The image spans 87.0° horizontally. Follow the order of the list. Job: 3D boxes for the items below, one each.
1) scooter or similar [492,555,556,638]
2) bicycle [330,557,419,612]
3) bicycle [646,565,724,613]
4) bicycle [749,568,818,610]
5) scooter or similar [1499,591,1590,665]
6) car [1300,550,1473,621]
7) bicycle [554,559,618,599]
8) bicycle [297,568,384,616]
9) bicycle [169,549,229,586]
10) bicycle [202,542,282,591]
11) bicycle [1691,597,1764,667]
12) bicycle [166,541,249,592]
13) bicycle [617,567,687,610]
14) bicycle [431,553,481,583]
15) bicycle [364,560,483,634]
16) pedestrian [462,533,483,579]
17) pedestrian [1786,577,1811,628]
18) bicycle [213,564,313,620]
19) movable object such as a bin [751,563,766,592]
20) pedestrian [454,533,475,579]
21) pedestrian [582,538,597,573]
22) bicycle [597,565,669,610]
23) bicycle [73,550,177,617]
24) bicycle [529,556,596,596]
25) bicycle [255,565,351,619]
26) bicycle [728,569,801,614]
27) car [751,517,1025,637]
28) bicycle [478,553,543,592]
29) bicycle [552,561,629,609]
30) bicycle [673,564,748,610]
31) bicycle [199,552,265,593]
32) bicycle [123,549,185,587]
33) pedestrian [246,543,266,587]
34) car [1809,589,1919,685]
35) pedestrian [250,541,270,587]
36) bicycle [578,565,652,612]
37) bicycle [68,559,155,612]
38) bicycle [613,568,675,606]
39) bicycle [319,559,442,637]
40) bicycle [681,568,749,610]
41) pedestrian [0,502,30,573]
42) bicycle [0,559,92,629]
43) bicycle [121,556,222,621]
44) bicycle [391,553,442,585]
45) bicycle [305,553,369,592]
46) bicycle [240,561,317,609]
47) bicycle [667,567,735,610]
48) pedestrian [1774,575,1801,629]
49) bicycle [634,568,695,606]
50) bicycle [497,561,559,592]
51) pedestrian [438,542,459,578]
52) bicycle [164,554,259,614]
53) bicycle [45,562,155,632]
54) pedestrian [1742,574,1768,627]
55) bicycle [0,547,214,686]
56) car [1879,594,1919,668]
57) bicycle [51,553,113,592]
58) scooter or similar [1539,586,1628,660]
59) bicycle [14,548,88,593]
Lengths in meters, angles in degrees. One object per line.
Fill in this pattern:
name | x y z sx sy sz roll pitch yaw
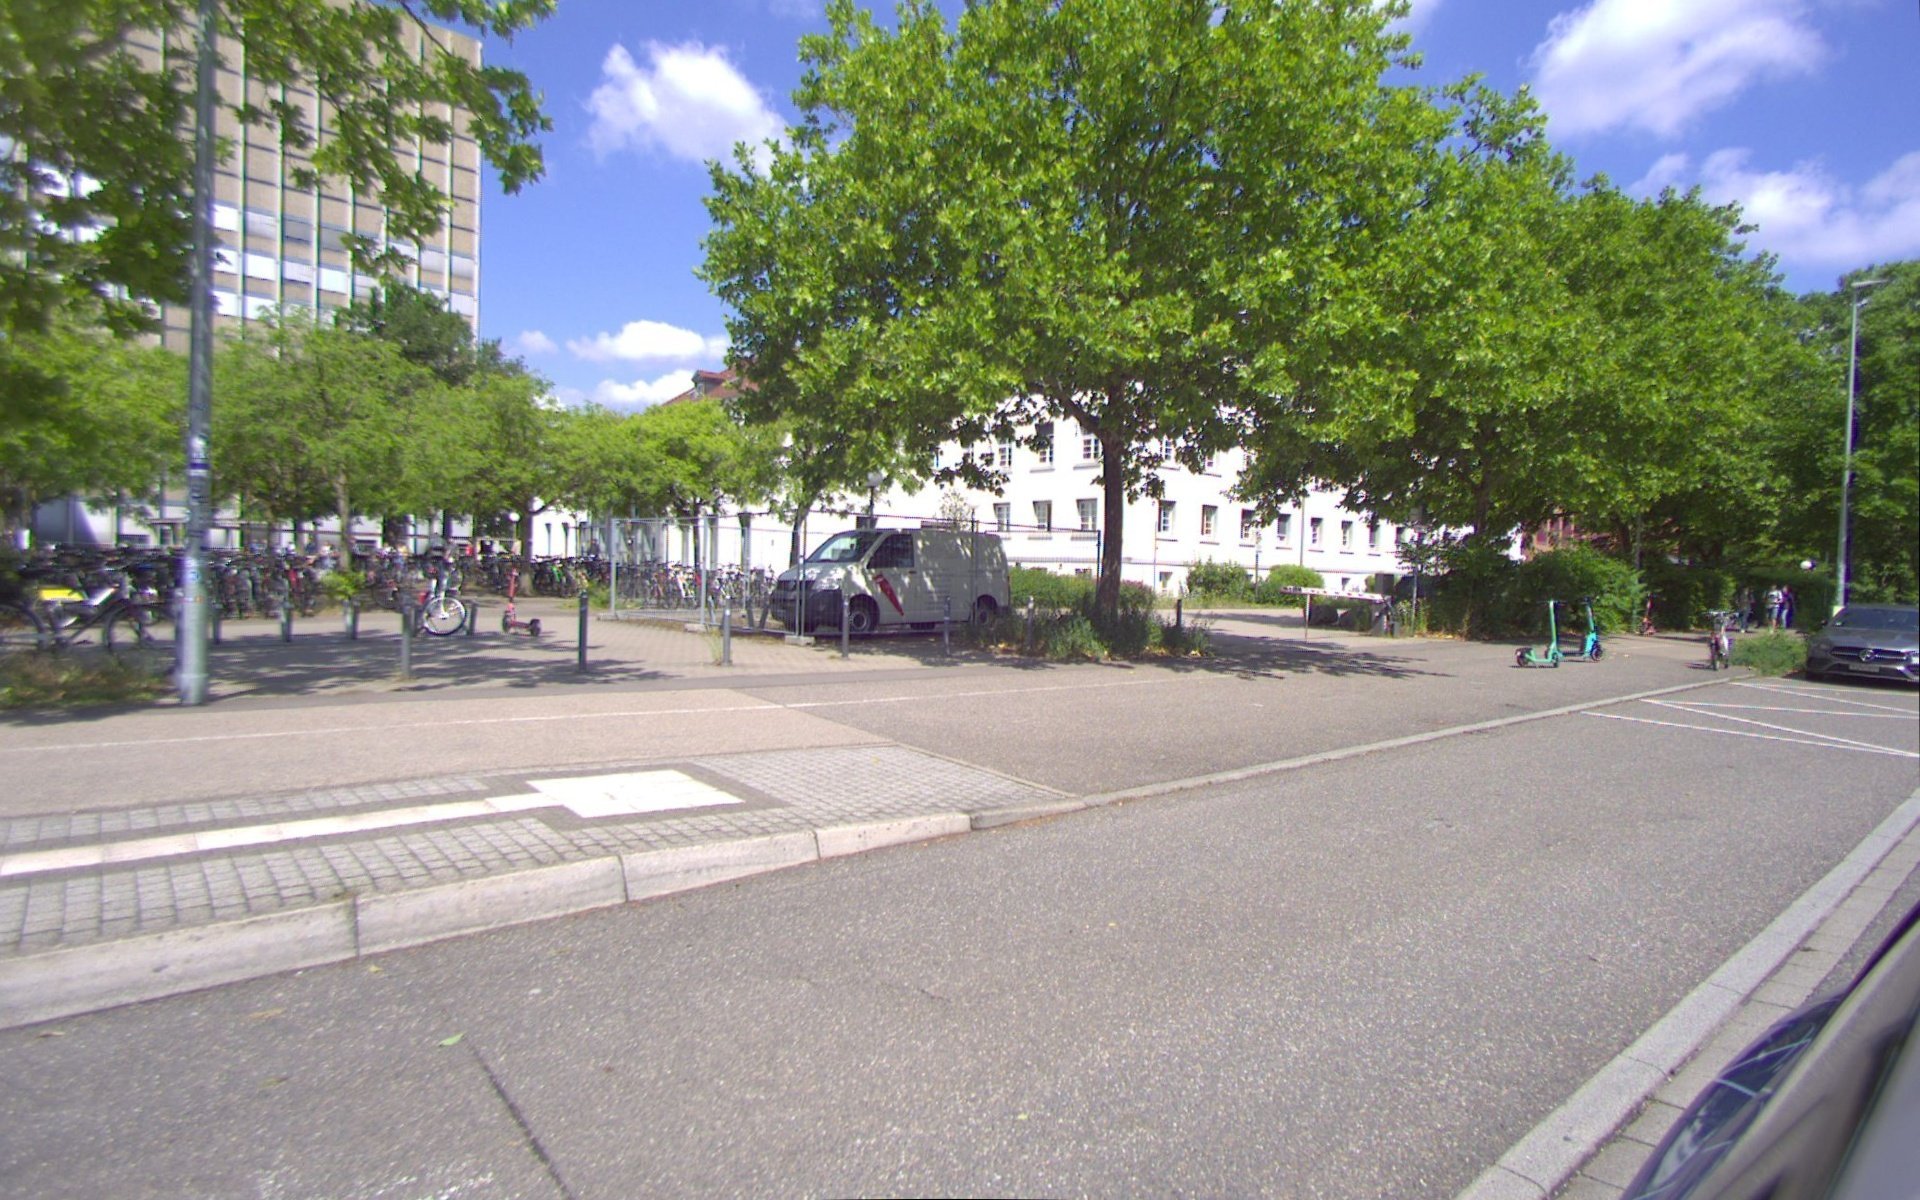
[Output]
scooter or similar | -6.786 -0.071 15.730 1.290 1.248 0.277 2 2 35
bicycle | -12.061 -0.317 20.841 1.745 1.113 0.600 0 0 19
bicycle | -6.516 -0.271 23.983 1.745 1.113 0.600 0 0 19
bicycle | -4.695 -0.294 26.982 1.744 1.113 0.600 0 0 19
scooter or similar | 9.897 0.480 17.128 1.542 1.183 0.531 2 2 -28
car | 11.805 -0.398 28.172 1.967 1.805 3.991 0 1 -43
bicycle | -10.727 -0.602 29.053 1.744 1.113 0.600 0 0 19
bicycle | -12.430 -0.169 20.303 1.745 0.879 0.481 2 1 19
bicycle | -23.691 -1.005 31.499 1.744 1.113 0.600 0 0 19
bicycle | -16.551 -0.760 23.318 1.744 1.113 0.600 0 0 19
bicycle | 14.398 0.584 18.959 2.082 1.205 0.639 1 3 -42
bicycle | -16.837 -0.736 22.634 1.744 1.113 0.600 0 0 19
bicycle | -7.985 -0.299 26.243 1.745 1.113 0.600 0 0 19
bicycle | -18.887 -1.183 37.927 1.744 1.113 0.600 0 0 19
bicycle | -8.313 -0.055 15.674 1.745 1.113 0.600 0 0 19
pedestrian | -24.200 -2.189 50.271 0.626 2.257 0.712 0 0 18
pedestrian | 30.359 0.086 36.653 0.681 1.803 0.779 0 0 42
bicycle | -12.926 -0.161 18.776 1.745 0.966 0.600 2 1 19
movable object such as a bin | -7.551 -0.848 37.980 0.388 1.068 0.362 4 3 44
pedestrian | -24.831 -2.194 50.732 0.626 2.257 0.712 0 0 18
pedestrian | -18.578 -2.250 50.765 0.443 1.738 0.498 4 3 44
bicycle | -8.266 -0.308 25.596 1.745 1.113 0.600 0 0 19
bicycle | -14.774 -0.306 17.902 1.745 1.112 0.600 2 1 19
bicycle | -11.065 -0.663 28.167 1.744 1.113 0.600 0 0 19
bicycle | -12.679 -0.168 19.539 1.745 0.966 0.600 2 1 19
bicycle | -4.971 -0.214 25.711 1.744 1.113 0.600 0 0 19
car | -1.172 -0.402 18.312 4.860 1.888 1.899 0 1 -44
bicycle | -12.800 -0.776 28.807 1.744 1.113 0.600 0 0 19
bicycle | -8.813 -0.349 24.128 1.745 1.113 0.600 0 0 19
bicycle | -6.154 -0.322 24.961 1.745 1.113 0.600 0 0 19
bicycle | -20.379 -0.763 28.325 1.744 1.113 0.600 0 0 19
bicycle | -24.175 -0.940 30.342 1.744 1.113 0.600 0 0 19
pedestrian | -35.782 -1.768 51.454 0.701 2.257 0.635 0 0 -23
car | 17.313 0.653 18.559 4.855 1.496 1.861 1 3 -41
pedestrian | -34.505 -1.747 49.876 0.701 2.257 0.635 0 0 -23
bicycle | -8.498 -0.288 24.918 1.745 1.113 0.600 0 0 19
bicycle | -18.170 -0.312 21.672 1.744 1.113 0.600 0 0 19
bicycle | -9.294 -0.388 29.763 1.744 1.113 0.600 0 0 19
bicycle | -8.619 -0.039 15.046 1.745 1.113 0.600 0 0 19
bicycle | -6.550 -0.302 27.058 1.744 1.113 0.589 0 0 19
pedestrian | -31.074 -2.029 33.077 0.842 2.257 0.631 0 0 15
bicycle | -15.015 -0.103 16.434 1.745 1.113 0.600 0 0 19
bicycle | -14.478 -0.222 18.581 1.745 1.112 0.600 3 1 19
bicycle | -19.473 -1.113 36.267 1.744 1.113 0.600 0 0 19
bicycle | -18.001 -0.782 29.240 1.744 1.113 0.600 0 0 19
bicycle | -16.296 -0.358 24.191 1.744 1.113 0.600 0 0 19
bicycle | -6.777 -0.297 26.486 1.744 1.113 0.513 0 0 19
pedestrian | 28.326 0.057 34.664 0.680 1.803 0.780 0 0 37
bicycle | -8.864 -0.392 30.331 1.744 1.113 0.600 0 0 19
bicycle | -12.705 -0.683 29.769 1.744 0.880 0.600 0 0 19
pedestrian | -25.702 -1.996 50.883 0.626 1.799 0.712 0 0 18
bicycle | -14.623 -0.320 19.774 1.745 1.112 0.600 2 1 19
bicycle | -14.569 -0.065 17.147 1.745 1.112 0.600 2 1 19
pedestrian | 27.708 0.019 35.260 0.680 1.803 0.780 0 0 37
bicycle | -8.128 0.136 9.277 1.990 1.198 0.801 0 1 -30
car | 21.543 0.709 21.570 4.846 1.468 1.745 1 3 -34
bicycle | -25.839 -0.799 29.782 1.744 1.113 0.600 0 0 19
scooter or similar | 11.558 0.420 18.773 1.263 1.261 0.531 3 2 -7
bicycle | -22.728 -0.725 25.301 1.744 1.113 0.600 0 0 19
